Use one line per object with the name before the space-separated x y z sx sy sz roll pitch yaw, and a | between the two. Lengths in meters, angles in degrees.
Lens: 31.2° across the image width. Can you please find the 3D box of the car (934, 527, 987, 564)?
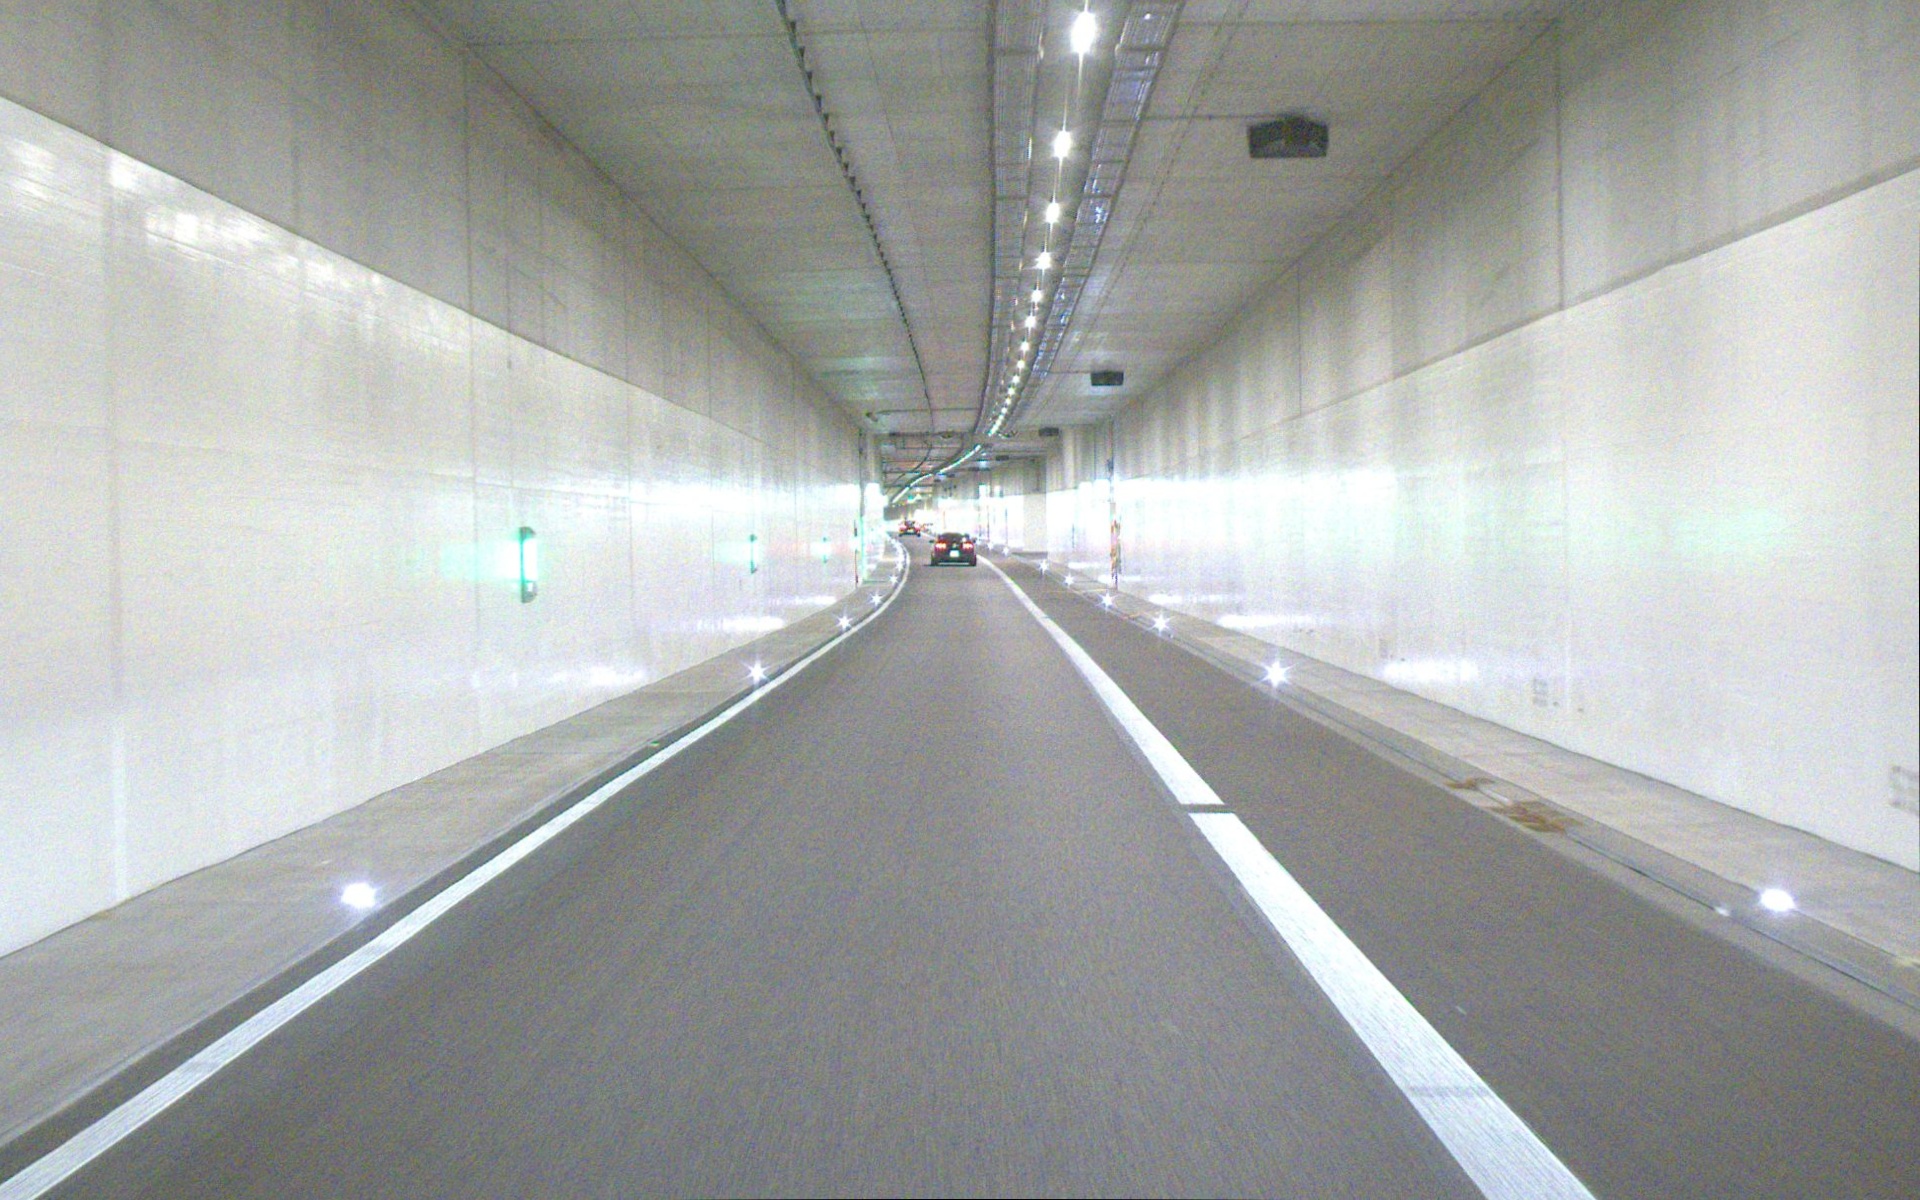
car | -0.005 -2.268 142.856 1.993 1.415 4.001 3 1 -2
